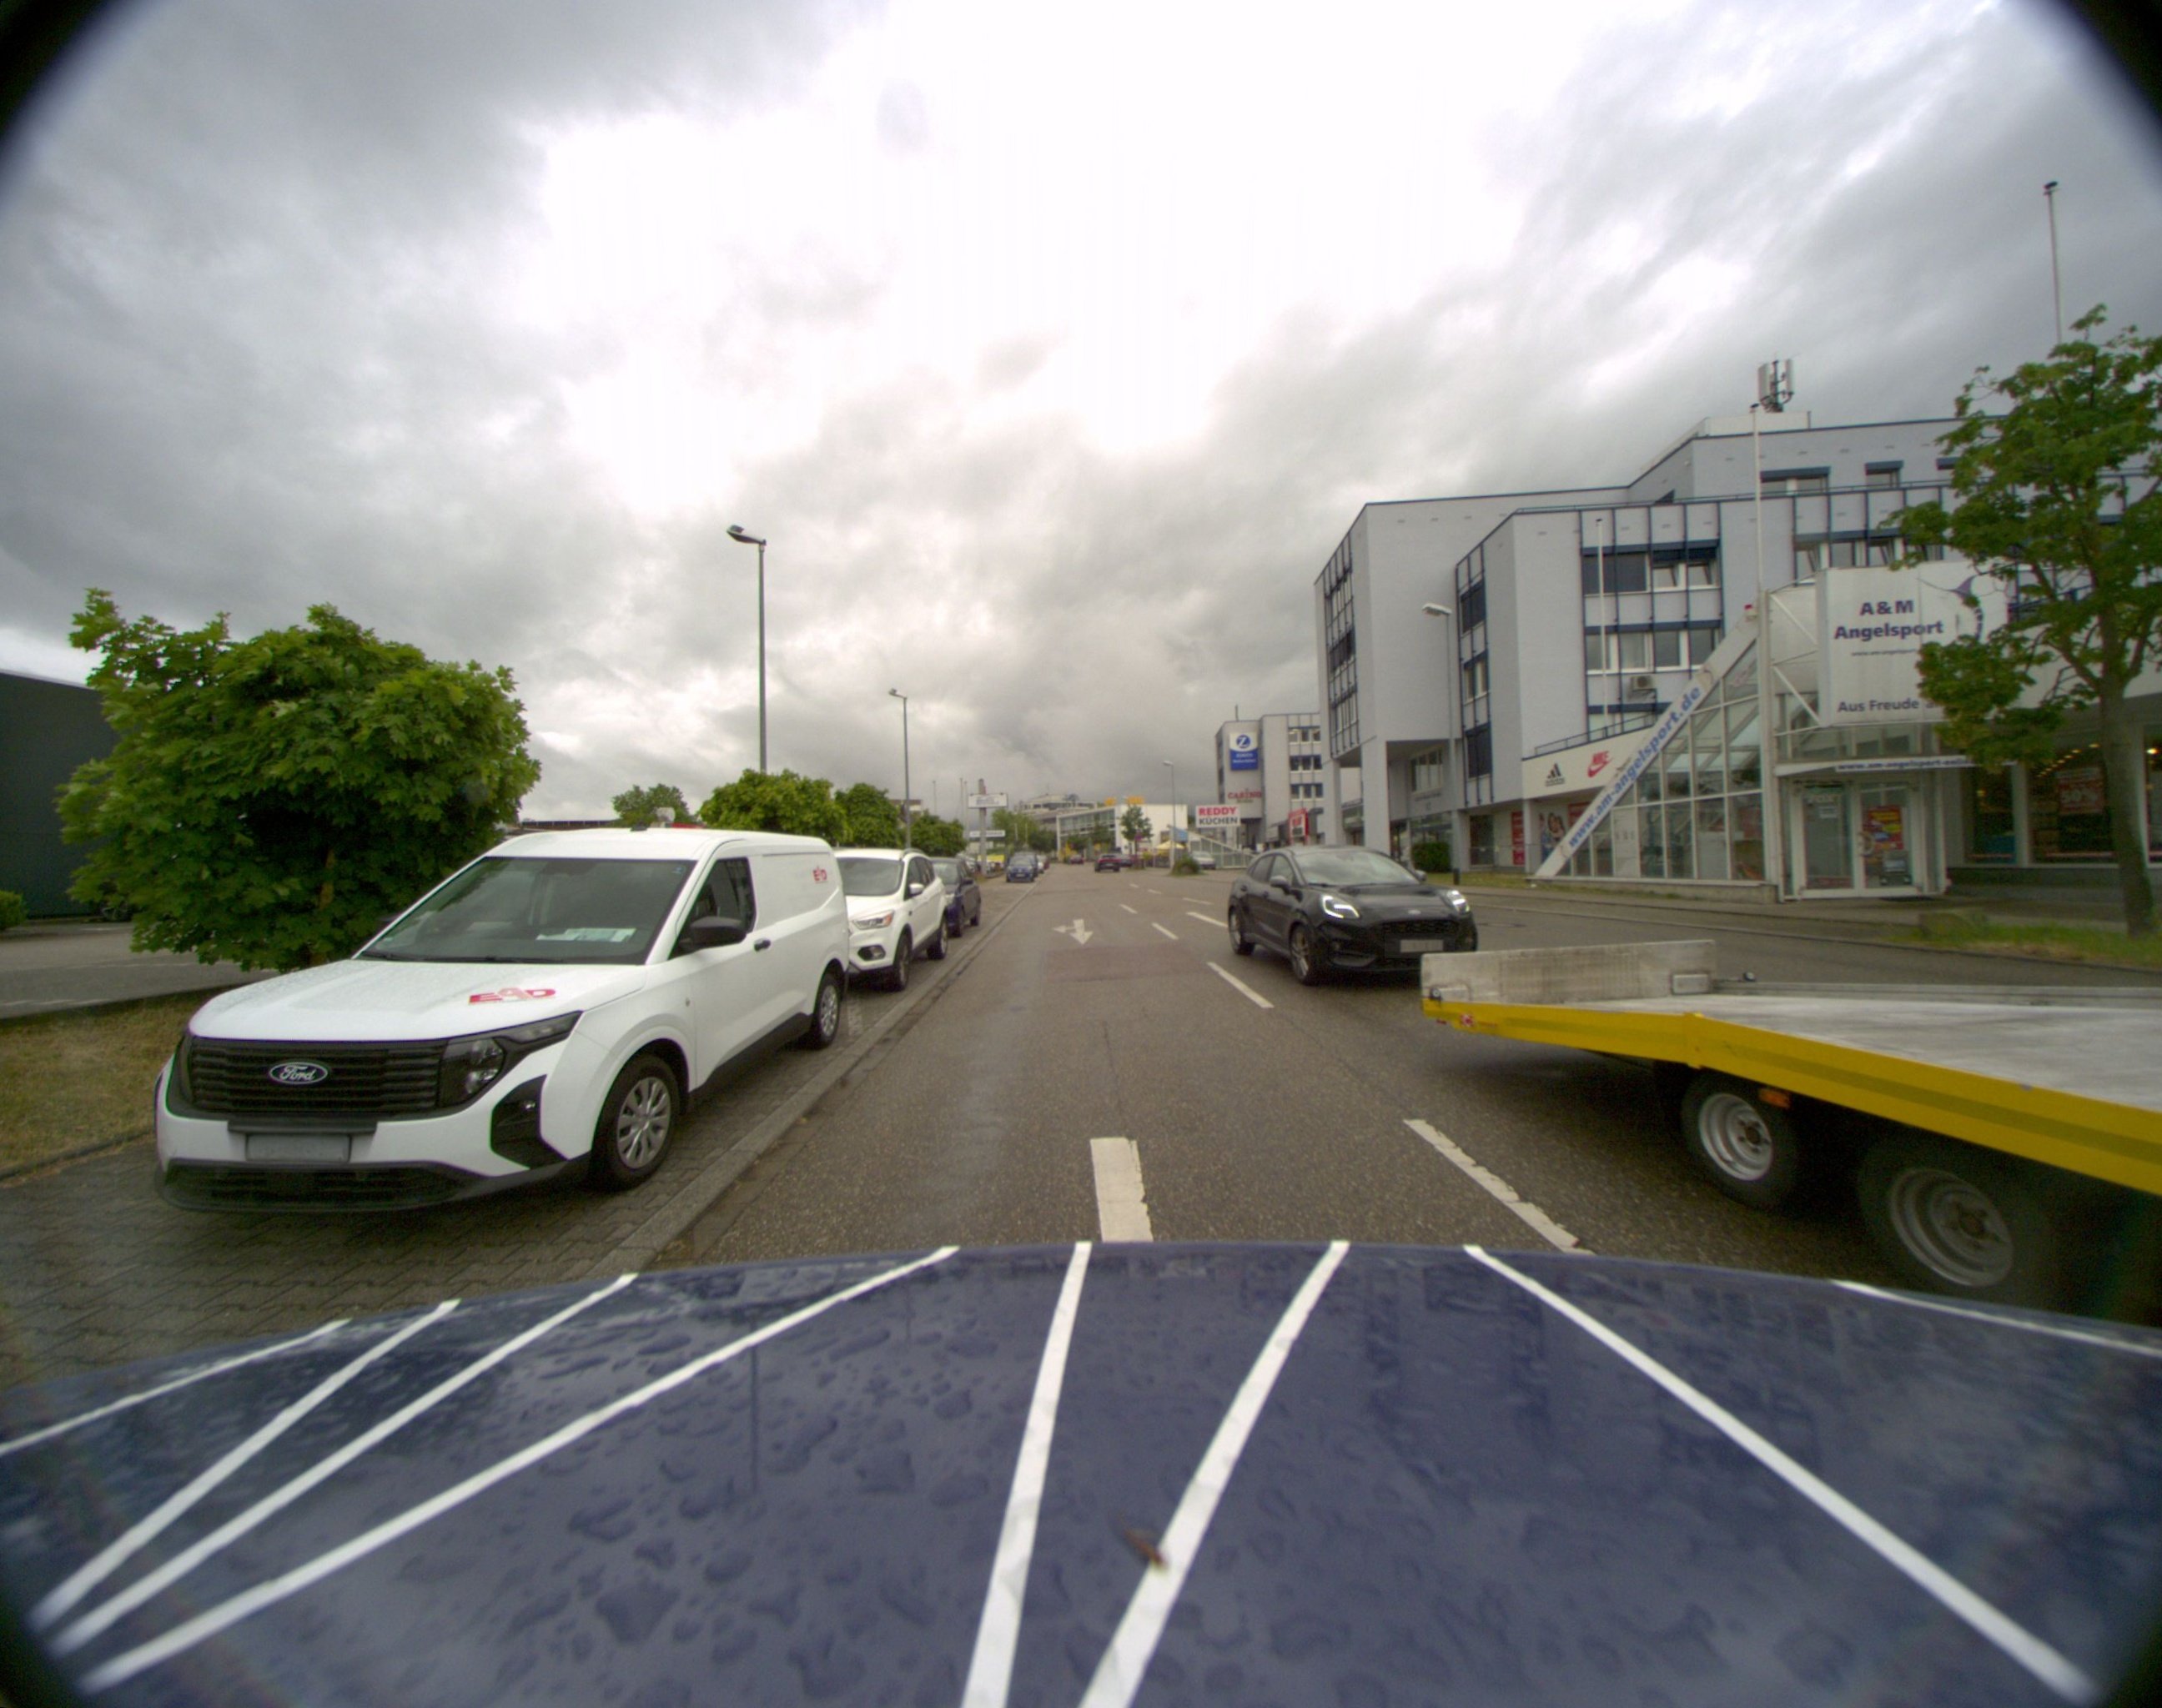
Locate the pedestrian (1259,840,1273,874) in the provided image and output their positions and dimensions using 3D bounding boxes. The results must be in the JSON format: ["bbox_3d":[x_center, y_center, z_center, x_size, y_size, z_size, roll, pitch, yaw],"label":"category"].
[{"bbox_3d":[9.400,0.168,38.523,0.550,1.698,0.519,-2,1,2],"label":"pedestrian"}]

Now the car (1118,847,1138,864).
[{"bbox_3d":[4.937,0.151,80.195,1.801,1.663,3.668,-2,1,1],"label":"car"}]

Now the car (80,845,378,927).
[{"bbox_3d":[-20.356,0.708,18.361,4.741,1.730,1.891,-2,1,-4],"label":"car"}]

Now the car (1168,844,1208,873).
[{"bbox_3d":[6.537,0.269,46.743,1.822,1.601,4.000,-3,0,1],"label":"car"}]

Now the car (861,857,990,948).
[{"bbox_3d":[-3.145,0.914,16.214,1.822,1.589,4.000,-2,1,1],"label":"car"}]

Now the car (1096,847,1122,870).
[{"bbox_3d":[2.266,0.323,62.253,1.901,1.755,3.999,-2,1,1],"label":"car"}]

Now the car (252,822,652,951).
[{"bbox_3d":[-9.563,0.447,11.915,4.501,1.730,1.892,-2,1,-4],"label":"car"}]

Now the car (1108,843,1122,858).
[{"bbox_3d":[4.254,-0.486,94.909,1.567,1.807,3.906,-2,1,1],"label":"car"}]

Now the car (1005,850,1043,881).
[{"bbox_3d":[-3.350,0.659,45.282,1.822,1.698,4.000,-2,1,1],"label":"car"}]

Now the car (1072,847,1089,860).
[{"bbox_3d":[-0.086,-0.032,106.348,1.765,1.755,3.682,-2,1,-9],"label":"car"}]

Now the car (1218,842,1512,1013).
[{"bbox_3d":[3.097,0.693,9.265,1.814,1.531,3.998,-3,0,-4],"label":"car"}]

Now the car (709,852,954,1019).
[{"bbox_3d":[-2.986,0.859,10.074,1.822,1.698,4.000,-2,1,1],"label":"car"}]

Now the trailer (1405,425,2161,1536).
[{"bbox_3d":[3.545,0.272,1.437,2.309,2.460,7.968,-1,1,-1],"label":"trailer"}]

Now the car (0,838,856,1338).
[{"bbox_3d":[-2.970,0.815,4.822,1.797,1.773,4.248,0,1,0],"label":"car"}]

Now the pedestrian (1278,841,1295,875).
[{"bbox_3d":[10.582,0.201,39.038,0.644,1.733,0.589,-1,1,33],"label":"pedestrian"}]
